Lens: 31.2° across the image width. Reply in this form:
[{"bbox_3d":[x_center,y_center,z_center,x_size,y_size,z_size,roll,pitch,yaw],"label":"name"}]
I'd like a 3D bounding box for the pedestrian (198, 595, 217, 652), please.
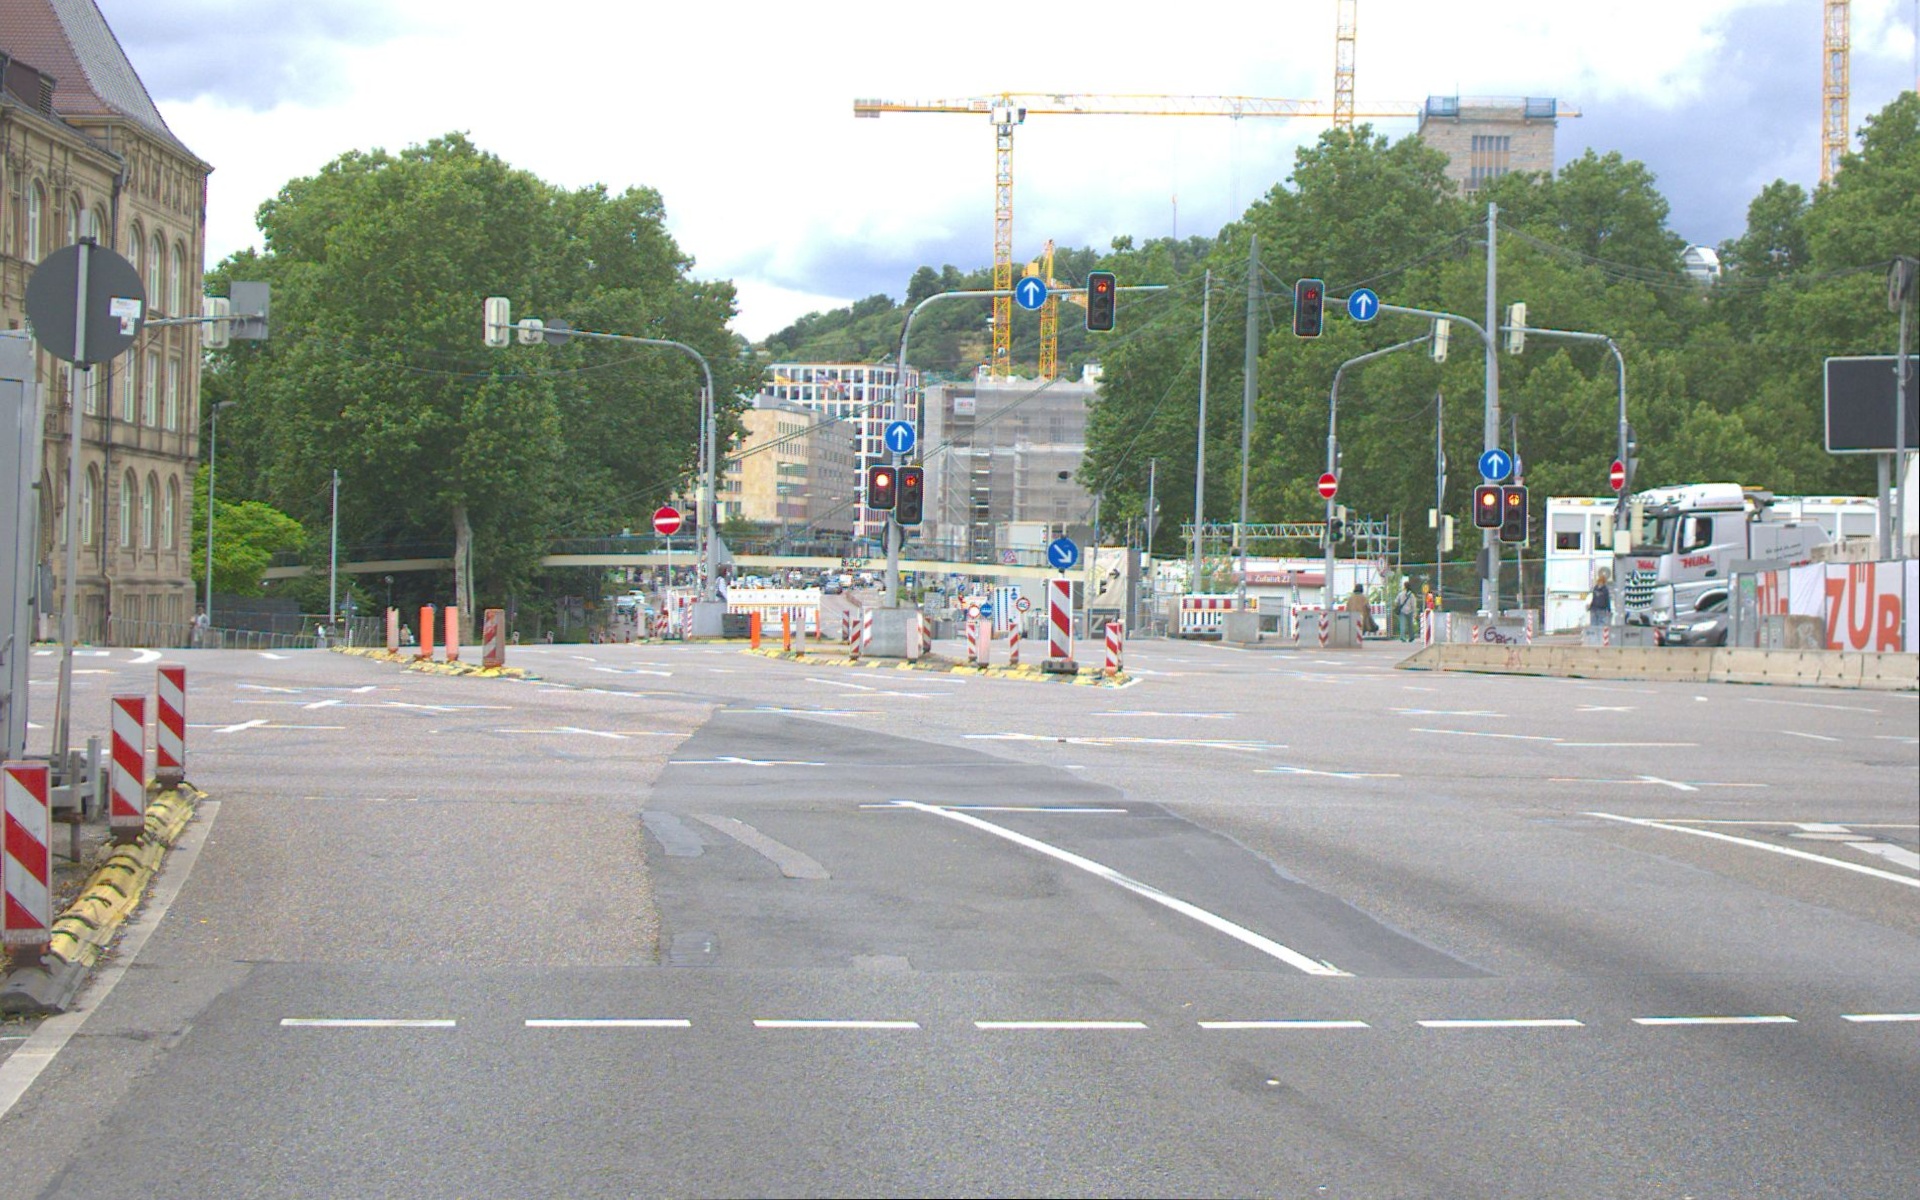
[{"bbox_3d":[-26.709,0.846,122.086,0.524,2.007,0.567,1,1,0],"label":"pedestrian"}]

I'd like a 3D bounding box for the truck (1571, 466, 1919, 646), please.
[{"bbox_3d":[21.357,-0.991,82.003,13.022,4.027,3.952,1,1,-20],"label":"truck"}]

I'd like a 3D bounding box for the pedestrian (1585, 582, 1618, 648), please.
[{"bbox_3d":[16.678,0.394,89.403,0.622,1.683,0.710,2,1,29],"label":"pedestrian"}]

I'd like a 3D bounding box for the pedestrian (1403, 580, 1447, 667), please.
[{"bbox_3d":[9.131,0.459,67.521,0.729,1.683,0.678,1,1,-1],"label":"pedestrian"}]

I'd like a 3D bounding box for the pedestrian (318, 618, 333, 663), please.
[{"bbox_3d":[-28.426,1.818,153.983,0.524,2.007,0.567,1,1,0],"label":"pedestrian"}]

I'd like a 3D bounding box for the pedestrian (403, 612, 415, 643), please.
[{"bbox_3d":[-28.486,1.431,177.871,0.536,1.587,0.516,1,1,-4],"label":"pedestrian"}]

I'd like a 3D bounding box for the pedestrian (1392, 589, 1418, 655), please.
[{"bbox_3d":[11.630,0.572,89.894,0.566,1.683,0.472,1,1,-1],"label":"pedestrian"}]

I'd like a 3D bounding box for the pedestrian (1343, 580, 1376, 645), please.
[{"bbox_3d":[10.420,0.323,89.669,0.729,1.683,0.678,1,1,-1],"label":"pedestrian"}]
